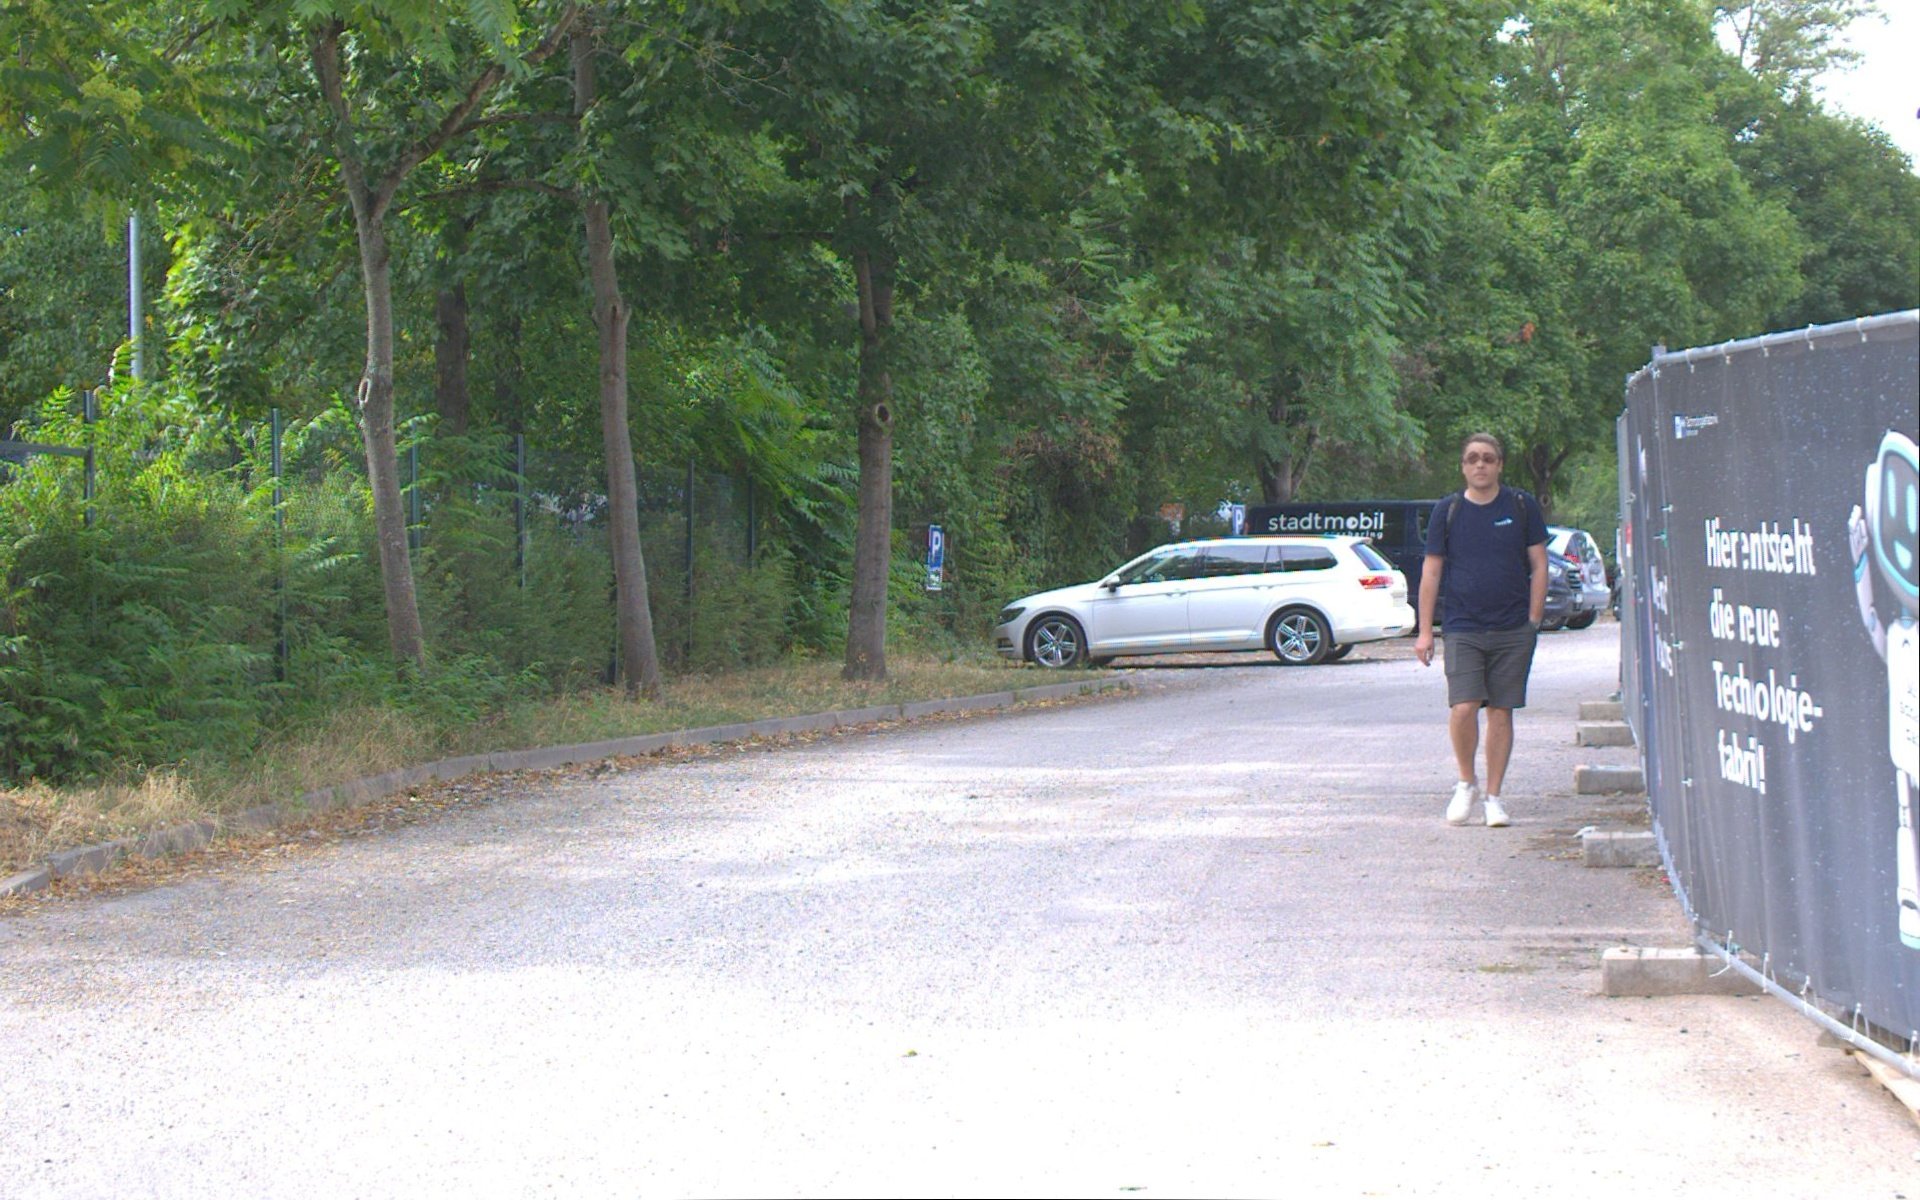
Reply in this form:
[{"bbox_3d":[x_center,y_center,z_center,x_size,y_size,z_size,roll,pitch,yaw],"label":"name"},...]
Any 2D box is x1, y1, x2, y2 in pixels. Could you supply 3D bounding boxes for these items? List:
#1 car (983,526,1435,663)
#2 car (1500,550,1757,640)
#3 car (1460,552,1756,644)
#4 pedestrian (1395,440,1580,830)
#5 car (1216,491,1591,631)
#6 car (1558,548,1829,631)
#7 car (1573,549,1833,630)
[{"bbox_3d":[2.852,-0.067,39.144,4.796,1.483,1.999,0,1,17],"label":"car"},{"bbox_3d":[11.957,-0.085,61.453,4.337,1.538,1.752,0,1,17],"label":"car"},{"bbox_3d":[11.117,-0.038,58.913,4.796,1.483,1.999,0,1,17],"label":"car"},{"bbox_3d":[2.486,0.154,16.164,0.748,1.783,0.730,0,1,17],"label":"pedestrian"},{"bbox_3d":[6.445,-0.556,49.939,5.051,1.946,1.998,0,1,21],"label":"car"},{"bbox_3d":[13.725,-0.198,64.293,4.796,1.483,1.999,0,1,17],"label":"car"},{"bbox_3d":[14.502,-0.209,67.038,4.796,1.483,1.999,0,1,17],"label":"car"}]
